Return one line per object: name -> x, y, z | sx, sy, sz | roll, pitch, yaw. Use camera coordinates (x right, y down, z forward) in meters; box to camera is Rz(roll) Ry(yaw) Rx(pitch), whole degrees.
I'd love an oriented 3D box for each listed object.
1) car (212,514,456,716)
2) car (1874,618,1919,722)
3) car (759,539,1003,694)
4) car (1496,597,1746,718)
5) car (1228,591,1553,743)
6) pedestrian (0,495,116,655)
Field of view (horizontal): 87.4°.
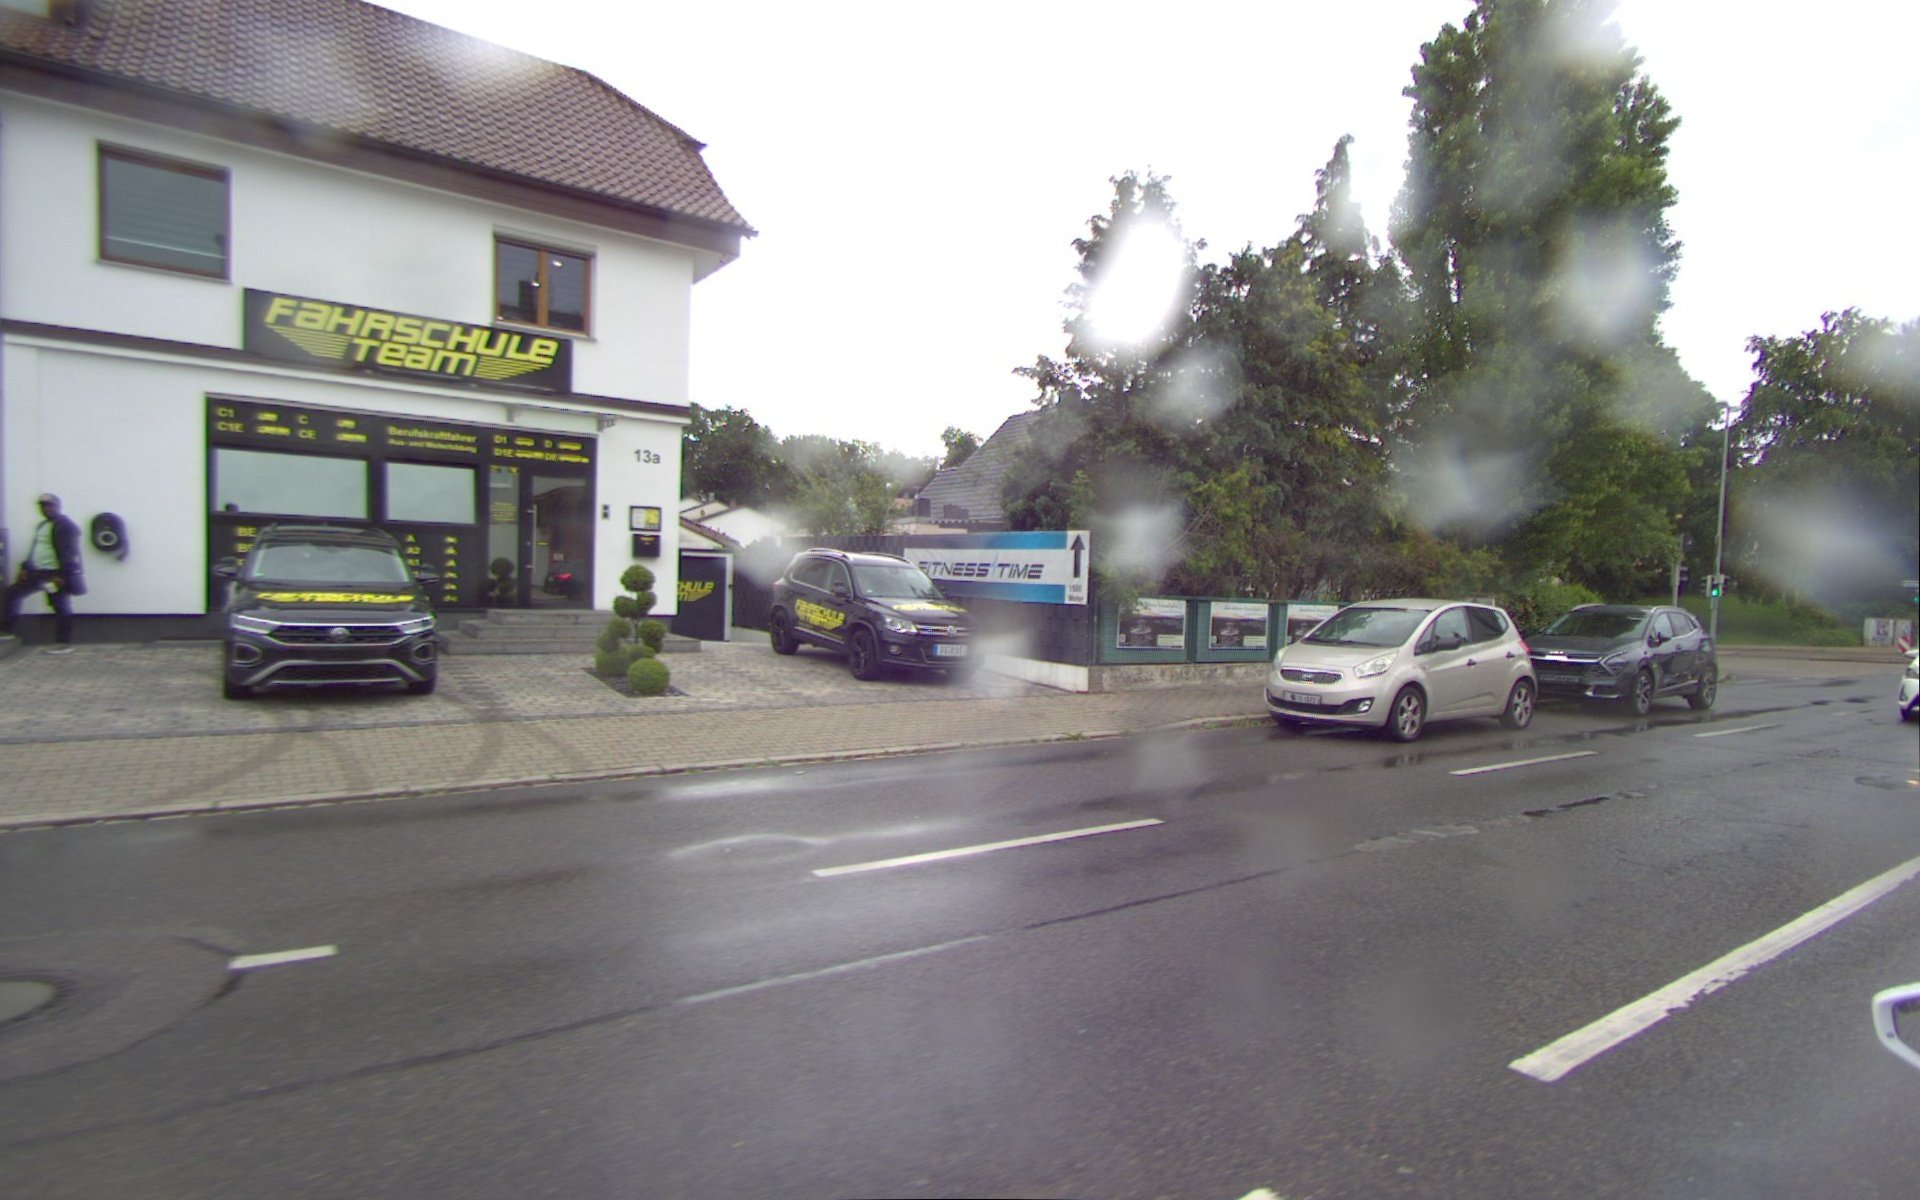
car -> -6.660, -0.004, 10.726 | 1.853, 1.586, 3.962 | 0, 6, -33
car -> 16.369, 1.111, 15.996 | 3.959, 1.550, 1.821 | 1, 0, -35
car -> -1.314, 0.122, 14.702 | 1.721, 1.744, 4.155 | 1, 5, -33
car -> 10.819, 0.890, 16.335 | 4.552, 1.691, 1.793 | 2, 0, -35
car -> 5.421, 0.763, 12.498 | 4.101, 1.589, 1.793 | 2, 0, -35
pedestrian -> -10.015, -0.285, 11.172 | 0.677, 1.693, 0.675 | 3, 4, -5
